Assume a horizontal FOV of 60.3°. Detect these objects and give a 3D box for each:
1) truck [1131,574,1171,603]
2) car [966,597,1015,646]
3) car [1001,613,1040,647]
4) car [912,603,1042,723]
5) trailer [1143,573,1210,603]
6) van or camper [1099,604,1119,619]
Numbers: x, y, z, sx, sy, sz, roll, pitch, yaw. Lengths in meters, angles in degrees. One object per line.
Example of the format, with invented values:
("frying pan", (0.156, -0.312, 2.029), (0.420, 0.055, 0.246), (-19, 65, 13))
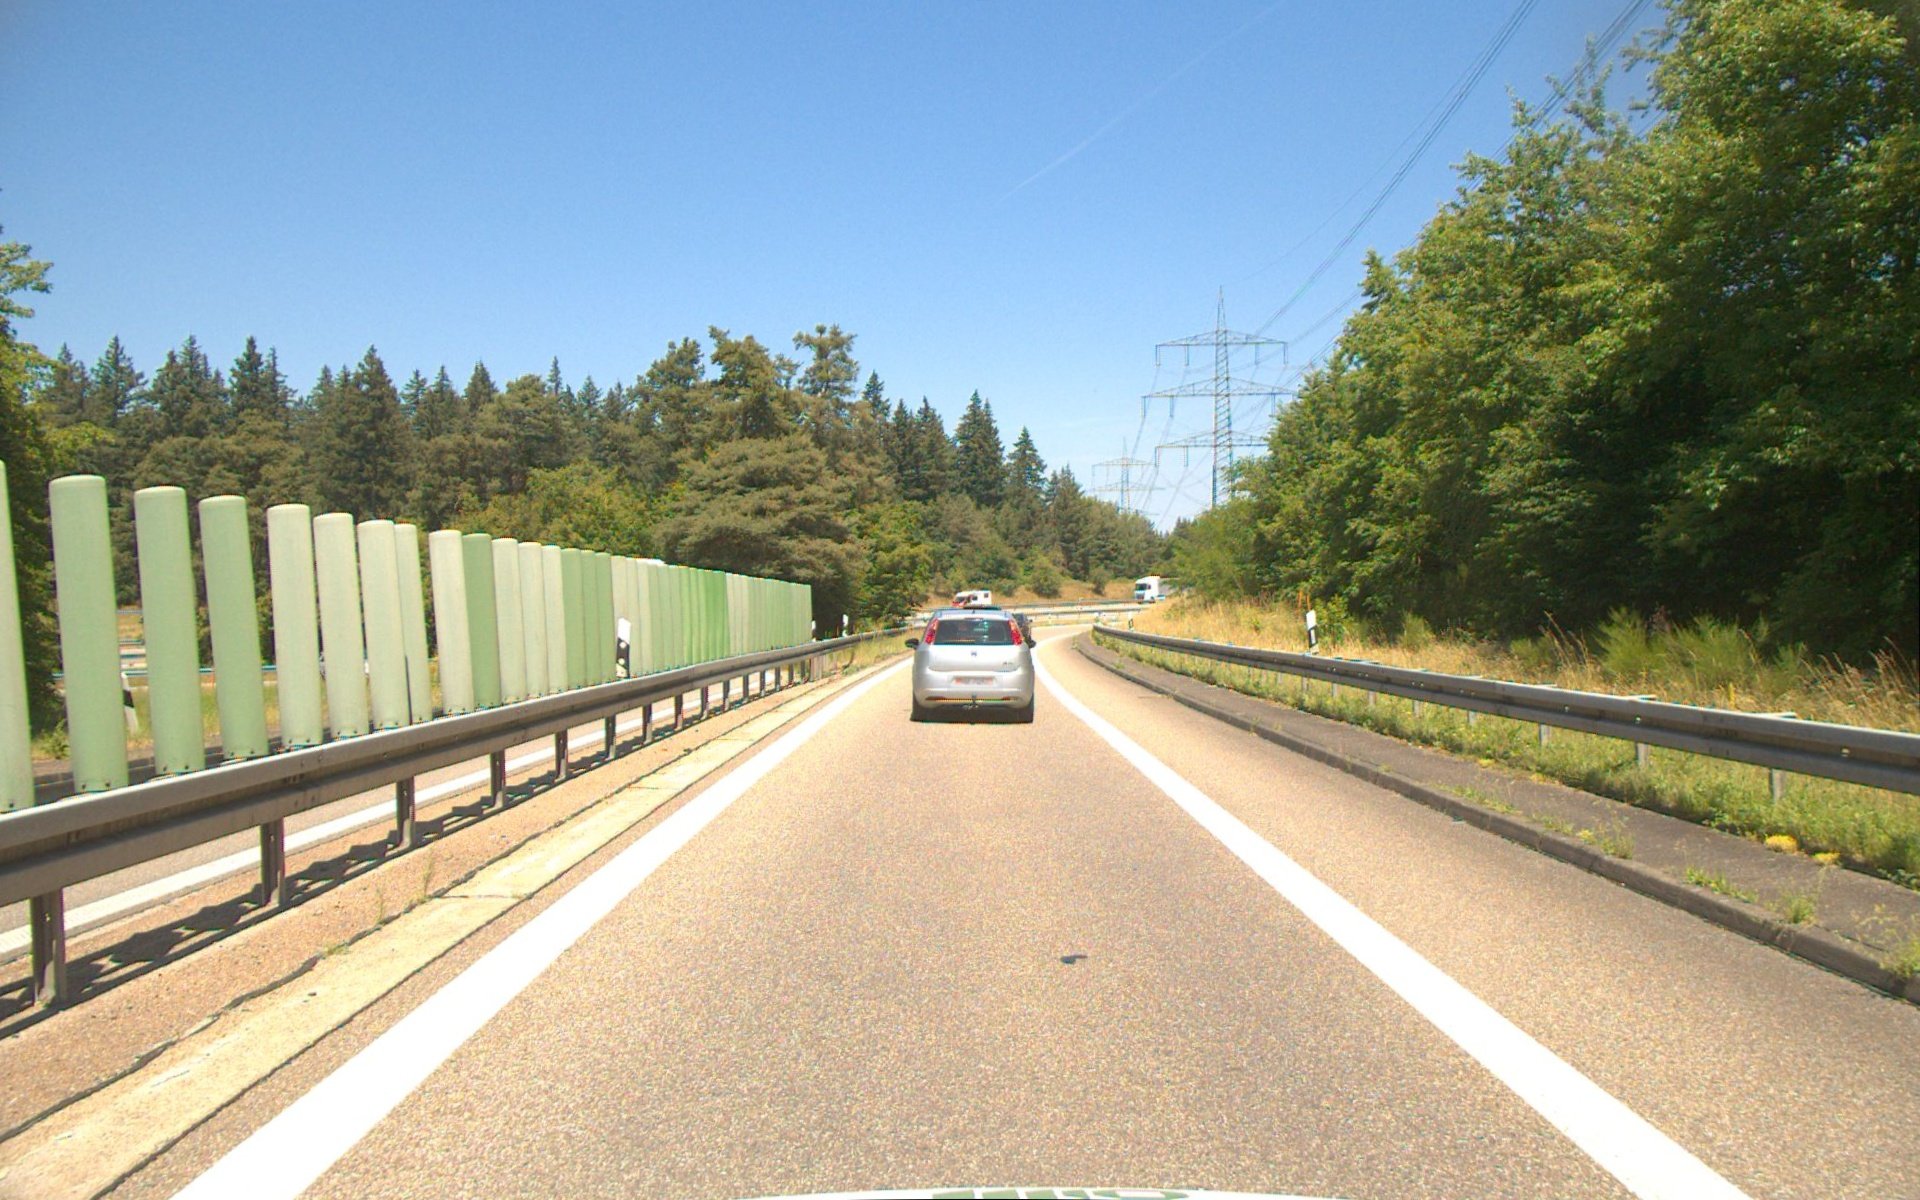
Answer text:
("truck", (29.764, -1.809, 257.564), (2.897, 4.469, 6.231), (-2, 0, 43))
("car", (1.079, 0.741, 60.214), (1.671, 1.705, 3.397), (0, 0, -1))
("car", (3.377, 1.655, 91.494), (1.842, 1.713, 4.003), (-3, 0, 6))
("car", (0.176, 0.822, 23.109), (1.672, 1.507, 3.396), (0, 0, -2))
("trailer", (34.454, -1.929, 262.580), (2.883, 4.464, 14.205), (-2, 0, 43))
("van or camper", (15.512, 1.216, 172.039), (1.768, 1.512, 4.004), (0, 1, 9))
